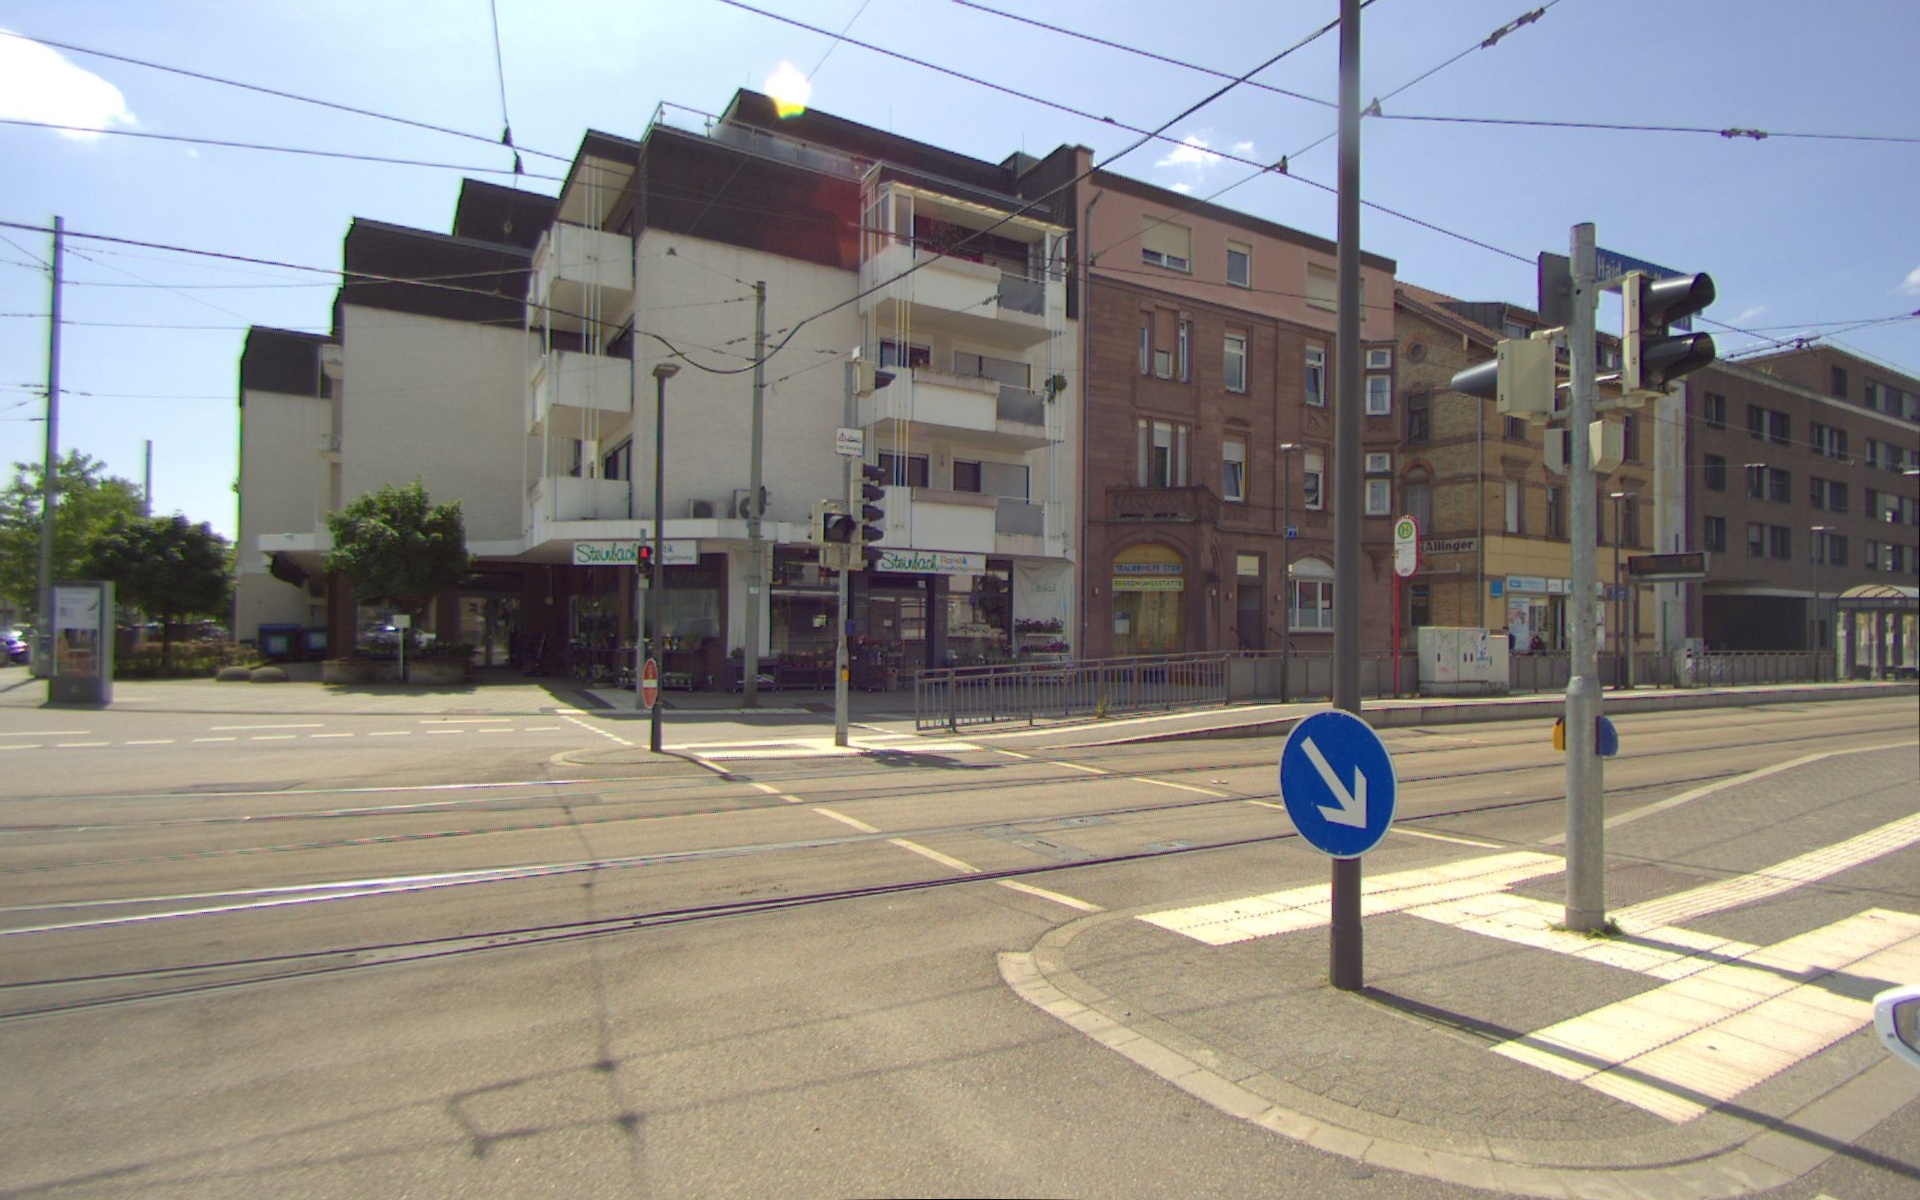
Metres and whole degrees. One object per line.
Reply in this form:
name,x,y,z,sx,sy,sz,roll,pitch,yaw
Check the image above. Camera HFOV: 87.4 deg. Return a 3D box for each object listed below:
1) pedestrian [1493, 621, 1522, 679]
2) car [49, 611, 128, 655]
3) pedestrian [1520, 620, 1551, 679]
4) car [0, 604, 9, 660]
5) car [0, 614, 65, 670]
pedestrian,19.733,1.794,36.195,0.802,2.040,0.614,2,-2,-33
car,-41.663,1.580,48.140,1.975,2.040,3.971,1,-2,-28
pedestrian,20.263,1.721,35.356,0.677,2.040,0.673,2,-1,-33
car,-33.363,1.047,33.209,1.978,1.937,3.966,2,-2,-32
car,-36.095,1.634,38.457,1.978,2.039,3.967,2,-4,-32
